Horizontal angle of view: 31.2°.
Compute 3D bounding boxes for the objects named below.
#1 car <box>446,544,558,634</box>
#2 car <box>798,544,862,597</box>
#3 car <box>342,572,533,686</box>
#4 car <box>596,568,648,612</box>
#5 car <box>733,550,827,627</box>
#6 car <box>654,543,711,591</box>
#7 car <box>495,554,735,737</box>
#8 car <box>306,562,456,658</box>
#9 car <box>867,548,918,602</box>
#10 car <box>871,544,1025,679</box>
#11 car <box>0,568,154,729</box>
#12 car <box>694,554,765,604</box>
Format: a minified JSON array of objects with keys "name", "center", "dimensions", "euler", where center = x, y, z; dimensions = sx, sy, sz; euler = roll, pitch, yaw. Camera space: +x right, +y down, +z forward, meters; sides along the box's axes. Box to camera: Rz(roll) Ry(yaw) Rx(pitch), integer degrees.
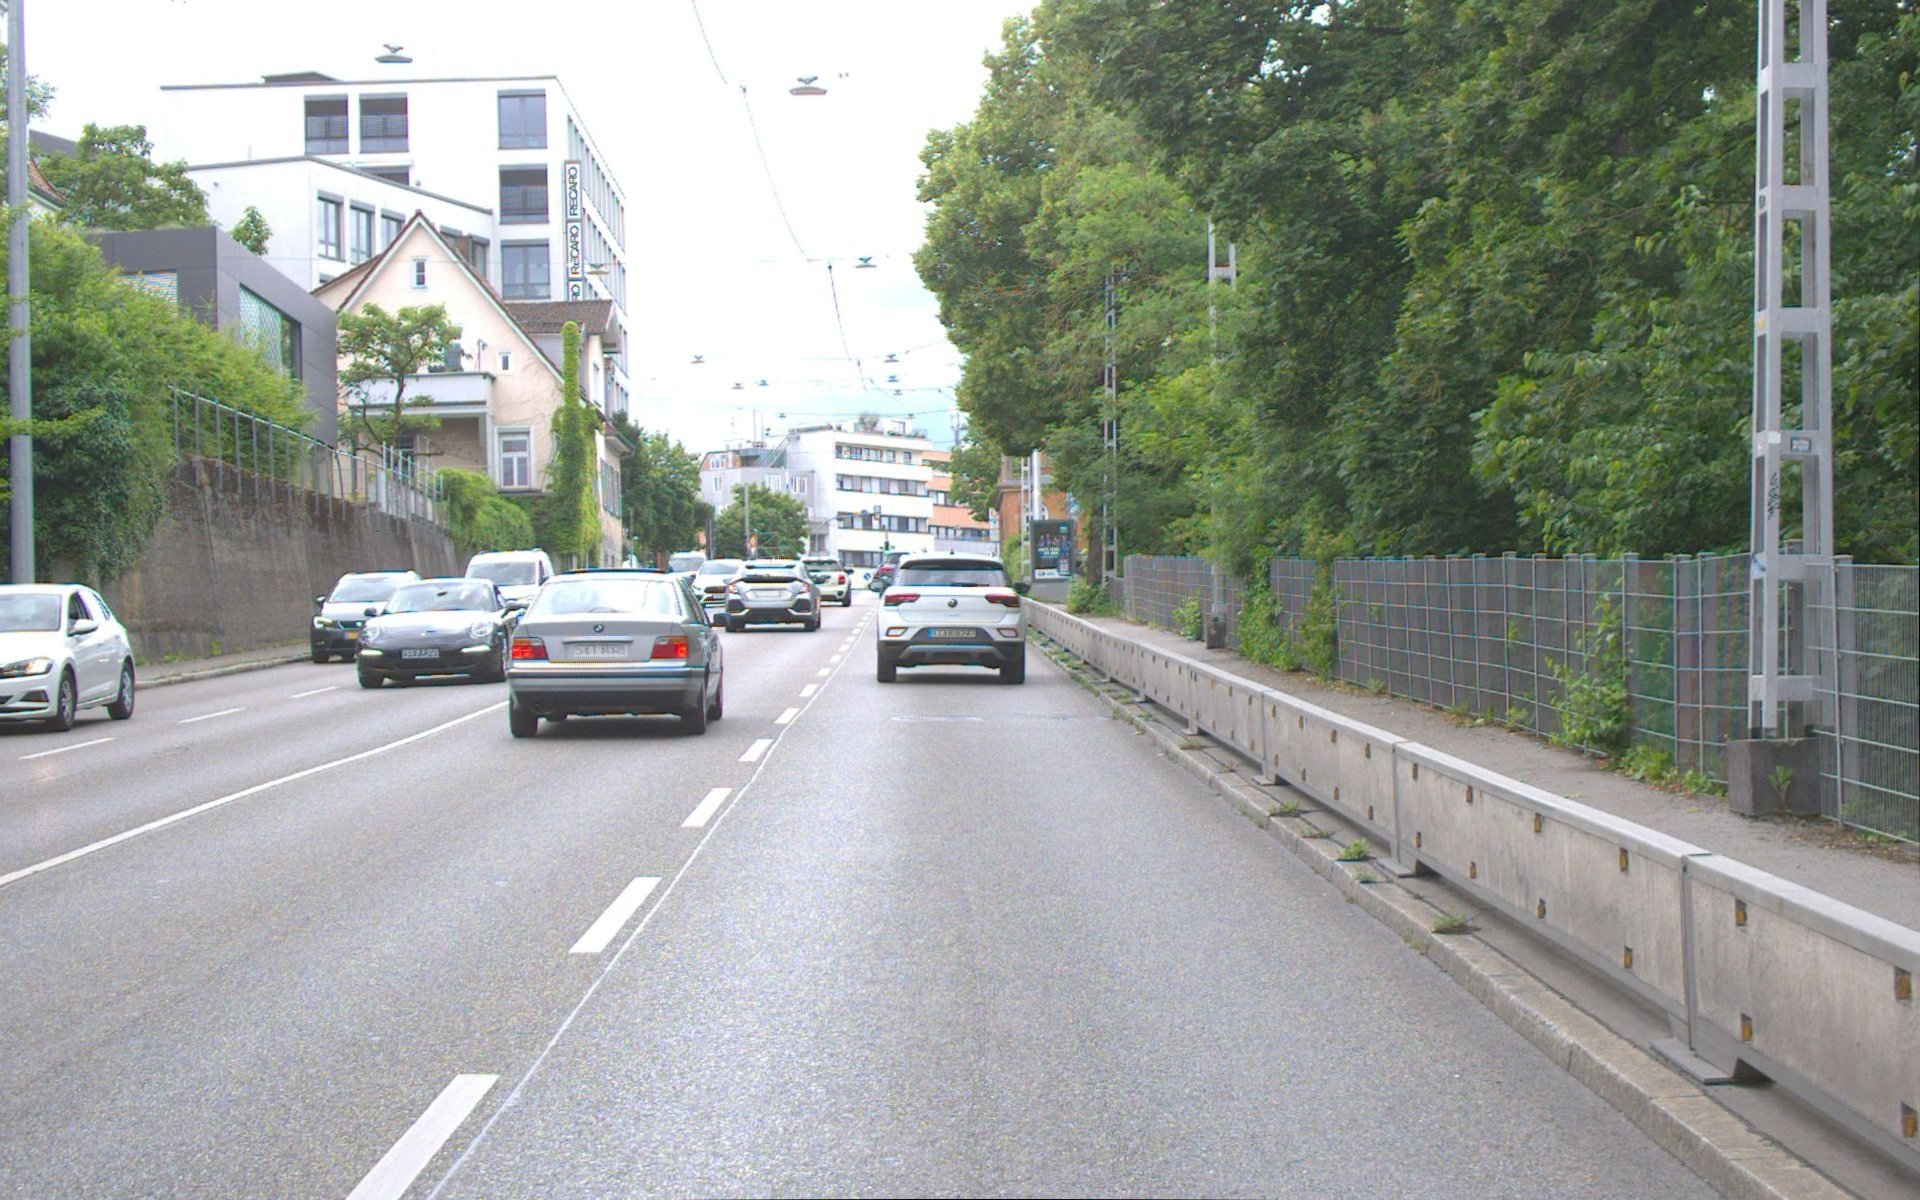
[{"name":"car","center":[-9.759,-0.266,73.577],"dimensions":[1.732,1.782,4.867],"euler":[-2,1,-1]},{"name":"car","center":[-3.700,-0.850,98.612],"dimensions":[1.706,1.459,4.000],"euler":[-1,1,-1]},{"name":"car","center":[-6.464,0.330,42.919],"dimensions":[1.753,1.264,4.192],"euler":[-2,1,-1]},{"name":"car","center":[-13.781,-0.419,140.295],"dimensions":[1.993,1.695,4.001],"euler":[-1,1,-4]},{"name":"car","center":[-3.567,-0.256,68.651],"dimensions":[1.706,1.459,4.000],"euler":[-1,1,-1]},{"name":"car","center":[-10.443,-1.245,129.780],"dimensions":[1.816,1.778,4.495],"euler":[0,1,-1]},{"name":"car","center":[-2.918,0.344,29.735],"dimensions":[1.706,1.459,4.000],"euler":[0,1,-1]},{"name":"car","center":[-9.573,0.133,57.143],"dimensions":[1.732,1.459,4.424],"euler":[-2,1,-1]},{"name":"car","center":[-2.235,-0.832,114.426],"dimensions":[1.656,1.759,3.287],"euler":[0,1,0]},{"name":"car","center":[-0.190,0.113,42.093],"dimensions":[1.780,1.573,4.000],"euler":[0,1,-2]},{"name":"car","center":[-9.364,0.452,34.051],"dimensions":[1.773,1.459,4.192],"euler":[-2,1,-1]},{"name":"car","center":[-6.970,-0.651,104.264],"dimensions":[1.815,1.382,4.463],"euler":[-3,1,-1]}]
